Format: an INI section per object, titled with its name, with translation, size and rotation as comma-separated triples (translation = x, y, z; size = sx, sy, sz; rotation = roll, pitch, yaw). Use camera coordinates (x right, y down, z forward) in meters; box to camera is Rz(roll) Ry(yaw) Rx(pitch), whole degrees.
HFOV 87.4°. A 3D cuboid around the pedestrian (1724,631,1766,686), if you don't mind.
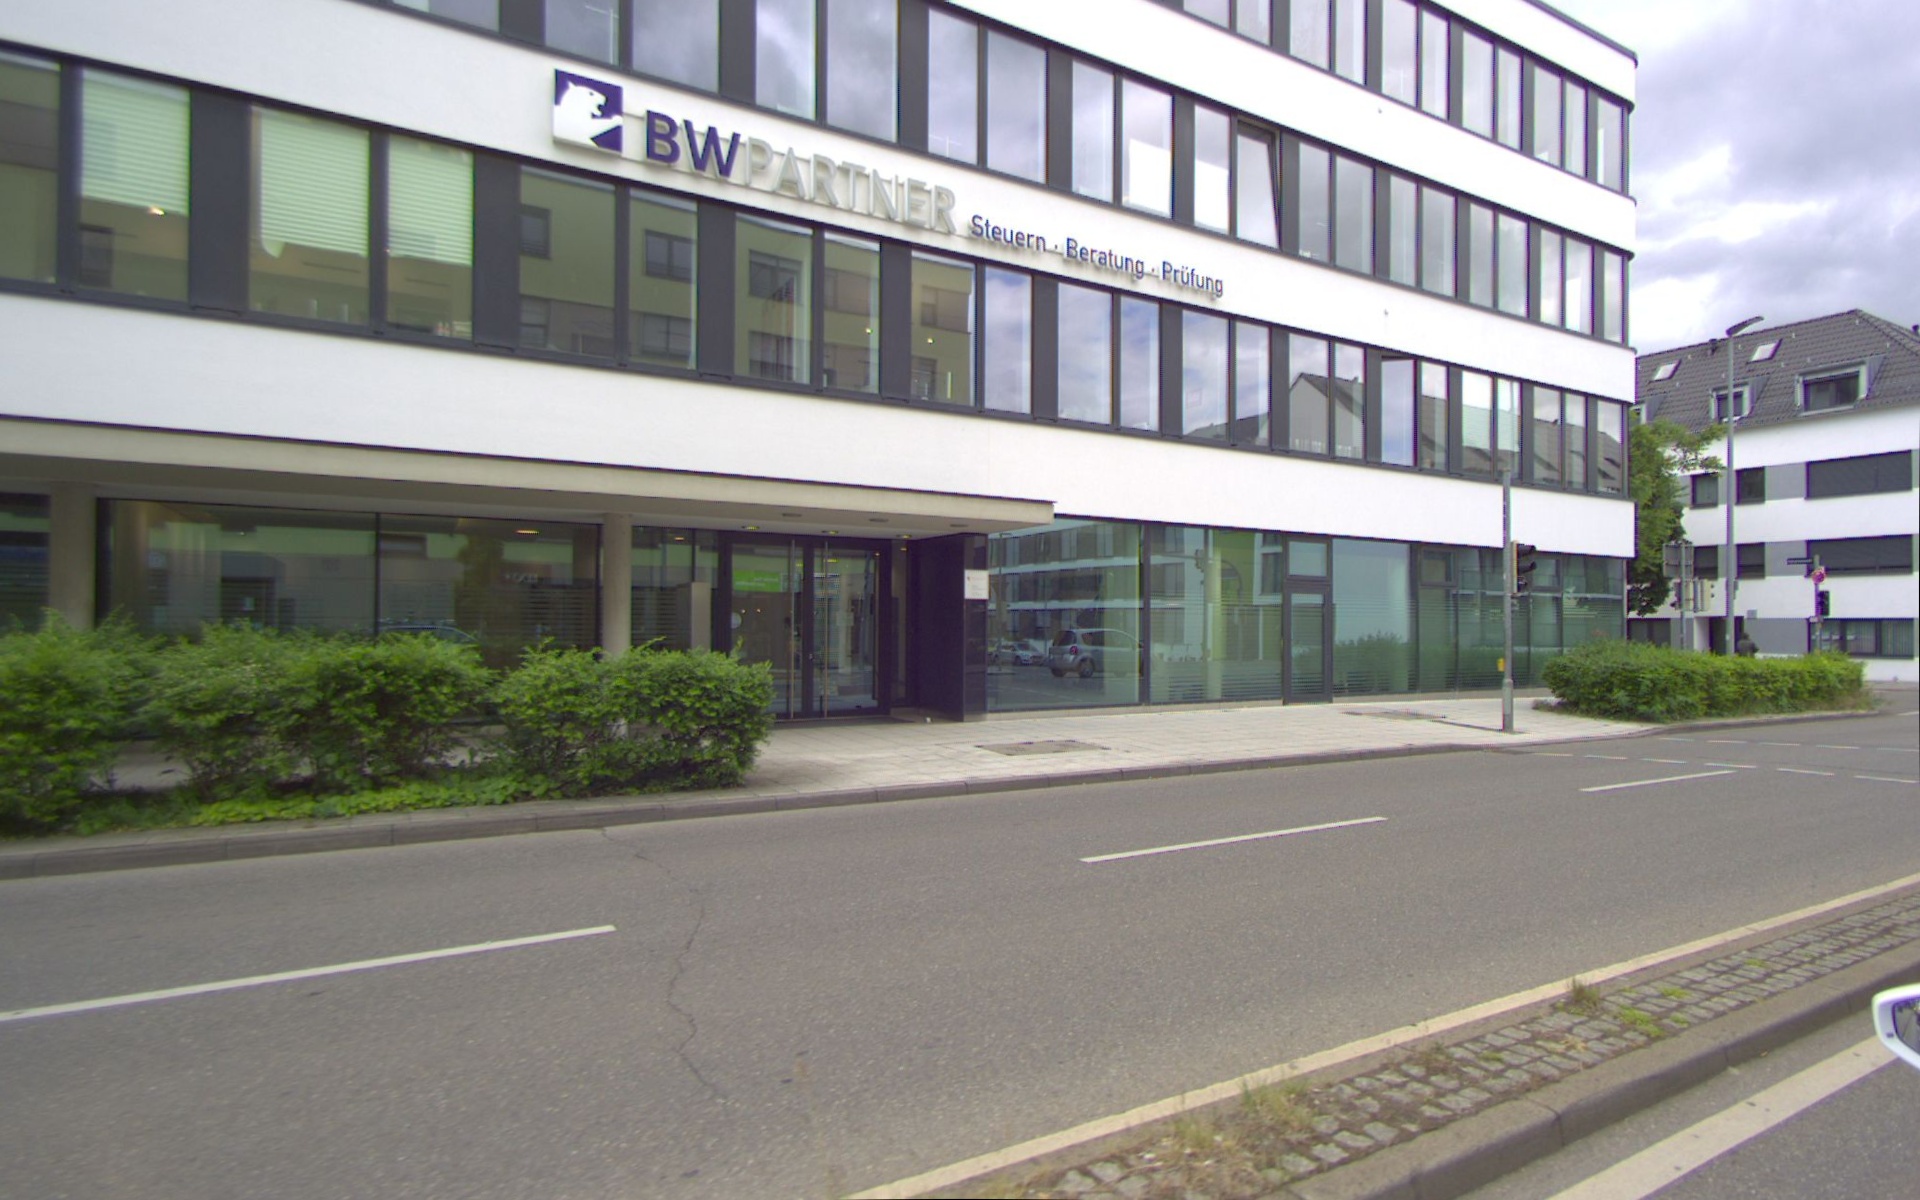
[pedestrian]
translation = 25.060, 1.853, 32.092
size = 0.868, 1.692, 0.812
rotation = -2, 0, 28
